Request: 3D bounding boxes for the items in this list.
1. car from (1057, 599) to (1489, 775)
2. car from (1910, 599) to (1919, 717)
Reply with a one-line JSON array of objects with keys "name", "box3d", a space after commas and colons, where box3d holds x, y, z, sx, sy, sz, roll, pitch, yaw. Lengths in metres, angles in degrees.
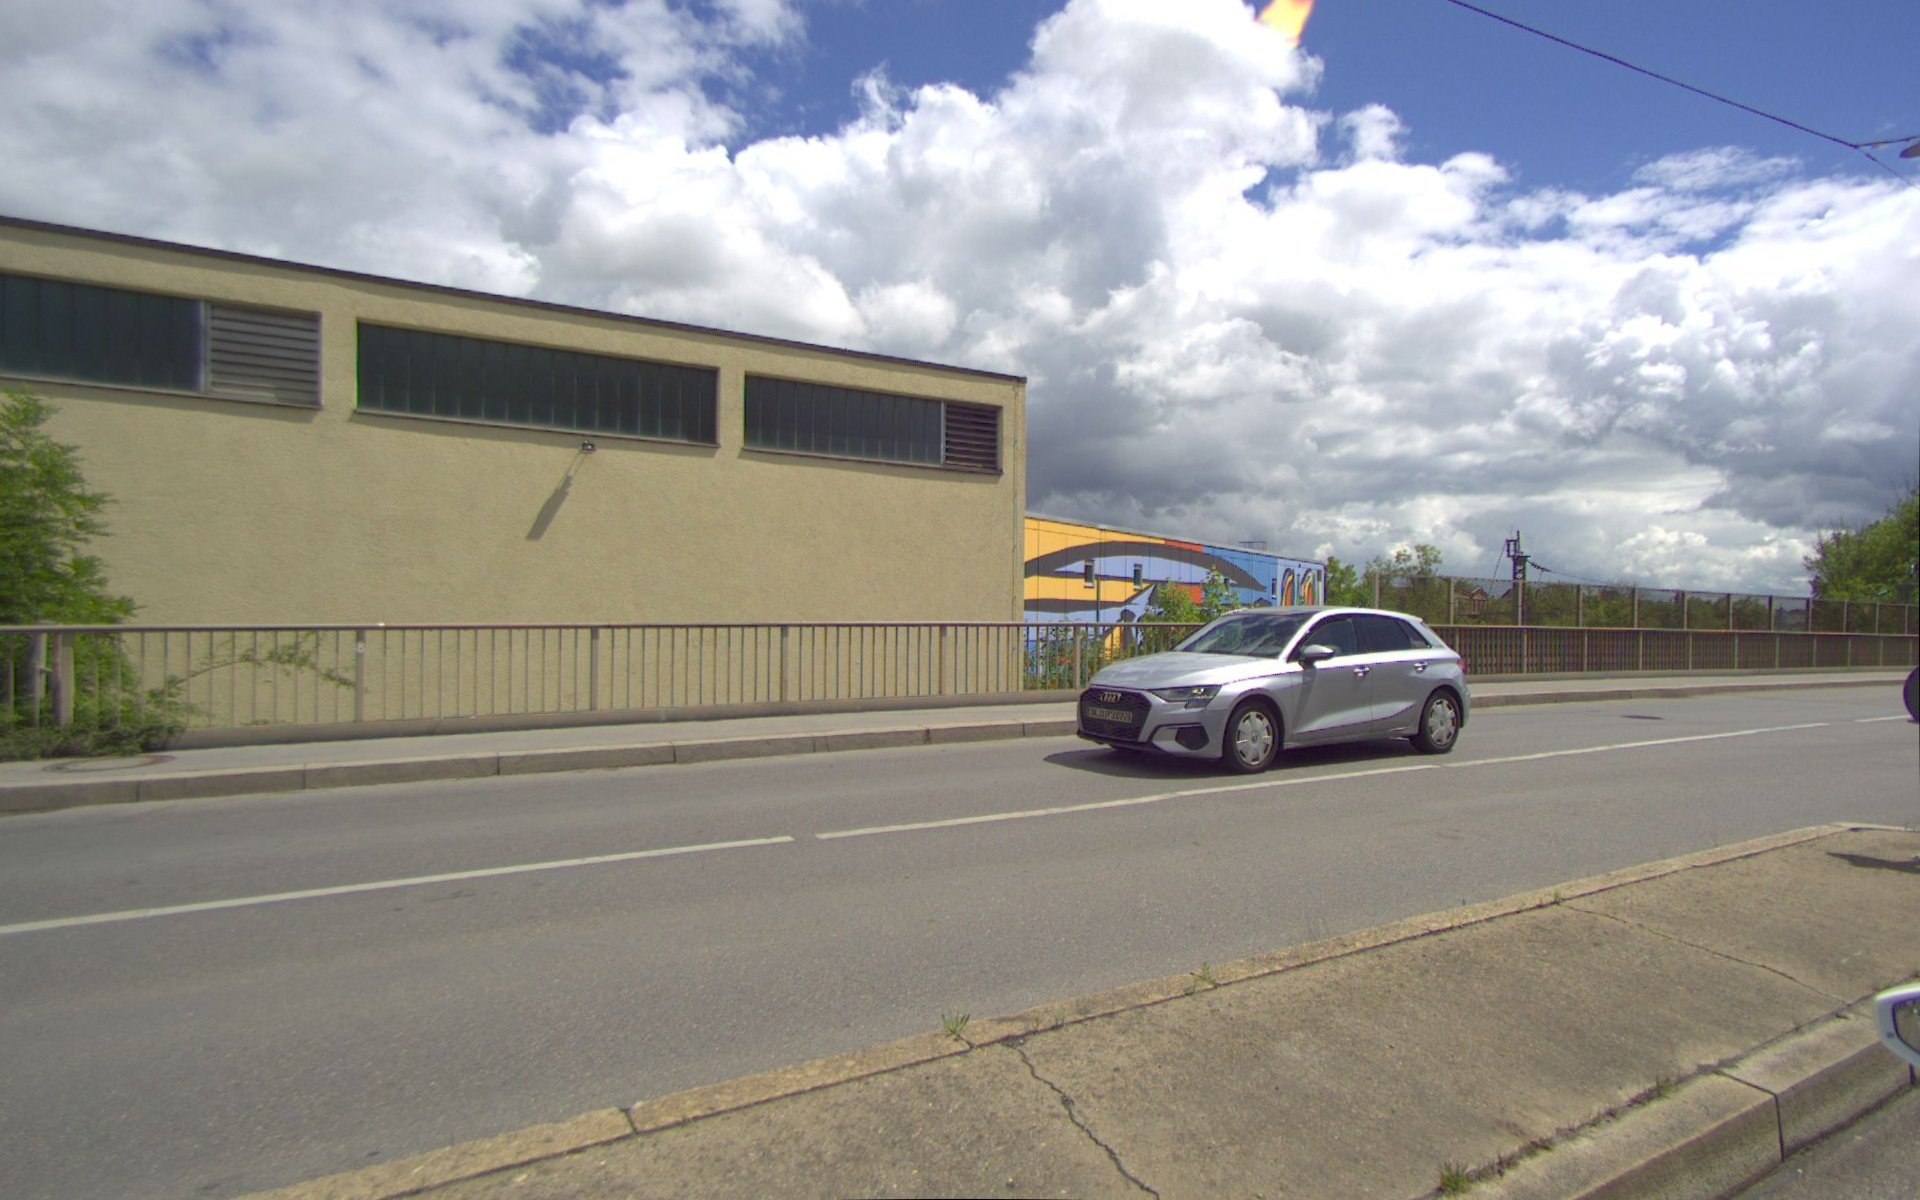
[{"name": "car", "box3d": [3.082, 0.715, 9.658, 4.145, 1.381, 1.629, 1, -1, -30]}, {"name": "car", "box3d": [15.114, 0.823, 13.897, 4.159, 1.581, 1.801, 1, 0, -31]}]
